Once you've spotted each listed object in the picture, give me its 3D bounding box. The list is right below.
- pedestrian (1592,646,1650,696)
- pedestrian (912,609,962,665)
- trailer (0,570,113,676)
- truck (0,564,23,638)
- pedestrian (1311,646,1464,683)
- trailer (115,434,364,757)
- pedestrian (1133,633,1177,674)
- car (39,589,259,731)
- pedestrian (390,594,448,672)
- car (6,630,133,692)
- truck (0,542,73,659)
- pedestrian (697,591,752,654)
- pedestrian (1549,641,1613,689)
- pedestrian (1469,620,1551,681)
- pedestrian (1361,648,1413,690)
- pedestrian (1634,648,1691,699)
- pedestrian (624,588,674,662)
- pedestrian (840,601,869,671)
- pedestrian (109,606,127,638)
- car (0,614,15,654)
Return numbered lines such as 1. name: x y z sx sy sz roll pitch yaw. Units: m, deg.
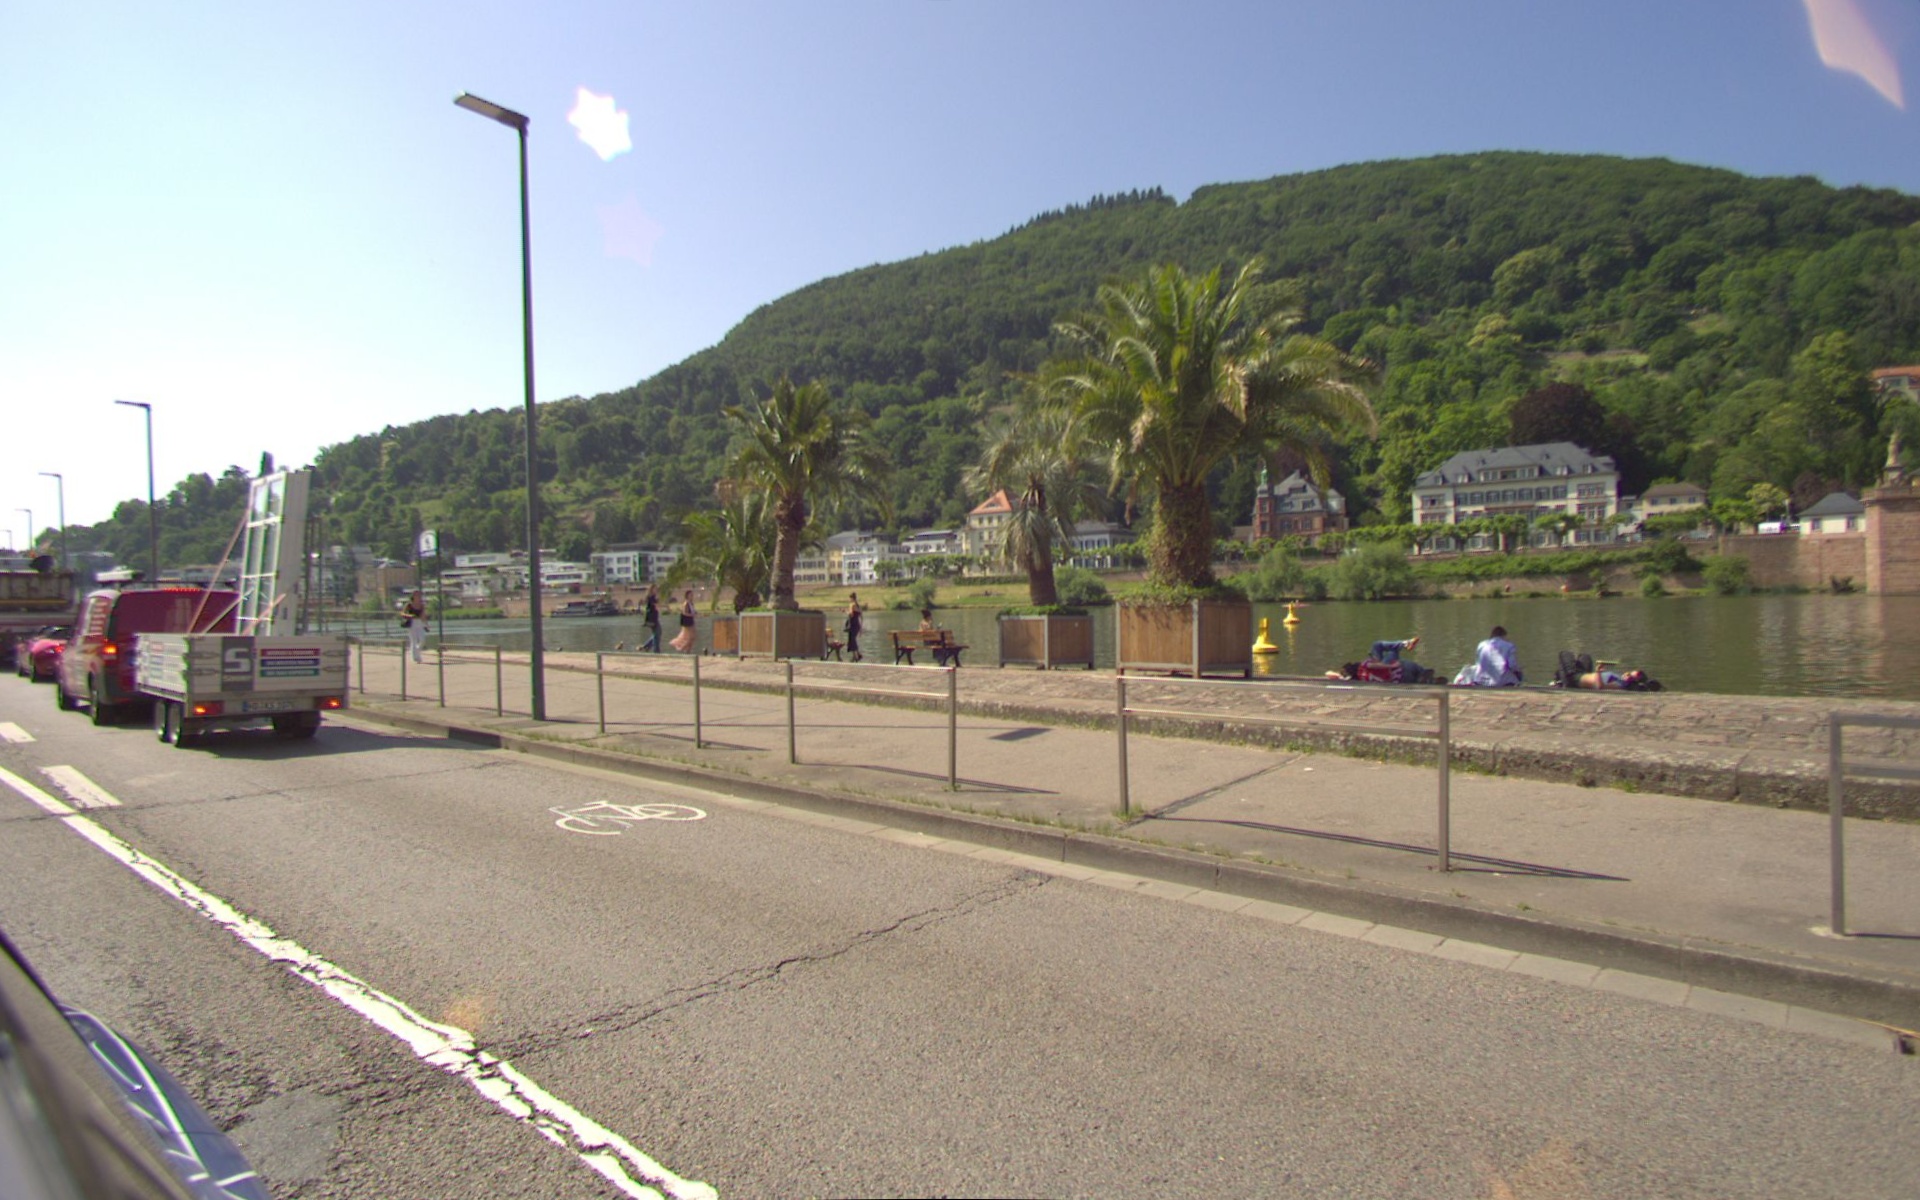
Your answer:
1. pedestrian: 8.323 0.887 12.741 0.537 0.568 0.433 -1 0 -36
2. pedestrian: -0.477 0.773 21.108 0.930 1.154 0.508 2 -3 -45
3. trailer: -25.149 0.553 27.358 6.949 2.550 2.667 0 -1 44
4. truck: -49.620 0.098 51.400 2.612 3.502 11.113 0 0 -45
5. pedestrian: 5.595 0.828 13.293 1.741 0.425 0.638 -1 -2 41
6. trailer: -8.784 -0.014 12.260 3.383 3.345 1.723 -1 -2 42
7. pedestrian: 3.751 1.018 19.450 0.688 0.747 0.530 -1 0 -45
8. car: -12.404 0.833 15.378 4.542 1.841 1.854 -1 -2 41
9. pedestrian: -12.284 0.733 22.978 1.151 1.713 0.807 0 1 41
10. car: -19.838 1.296 22.514 3.627 1.203 1.654 0 -1 41
11. truck: -31.272 0.017 33.161 7.873 3.483 2.613 0 -1 44
12. pedestrian: -5.943 0.562 25.552 1.115 1.545 0.785 0 -4 40
13. pedestrian: 8.051 0.829 13.130 0.537 0.568 0.533 -1 0 -36
14. pedestrian: 7.265 0.655 13.366 0.777 0.748 0.712 -1 0 -40
15. pedestrian: 6.014 0.969 14.258 0.457 0.568 0.515 4 -3 -40
16. pedestrian: 8.616 0.895 12.416 0.537 0.568 0.415 -1 0 -36
17. pedestrian: -7.306 0.574 23.817 0.836 1.704 0.794 -1 0 8
18. pedestrian: -2.478 0.829 23.820 0.586 1.613 0.680 -1 0 -1
19. pedestrian: -45.112 1.166 54.213 0.703 1.719 0.846 0 -1 -44
20. car: -37.357 1.291 38.552 3.998 1.454 1.758 0 0 44
